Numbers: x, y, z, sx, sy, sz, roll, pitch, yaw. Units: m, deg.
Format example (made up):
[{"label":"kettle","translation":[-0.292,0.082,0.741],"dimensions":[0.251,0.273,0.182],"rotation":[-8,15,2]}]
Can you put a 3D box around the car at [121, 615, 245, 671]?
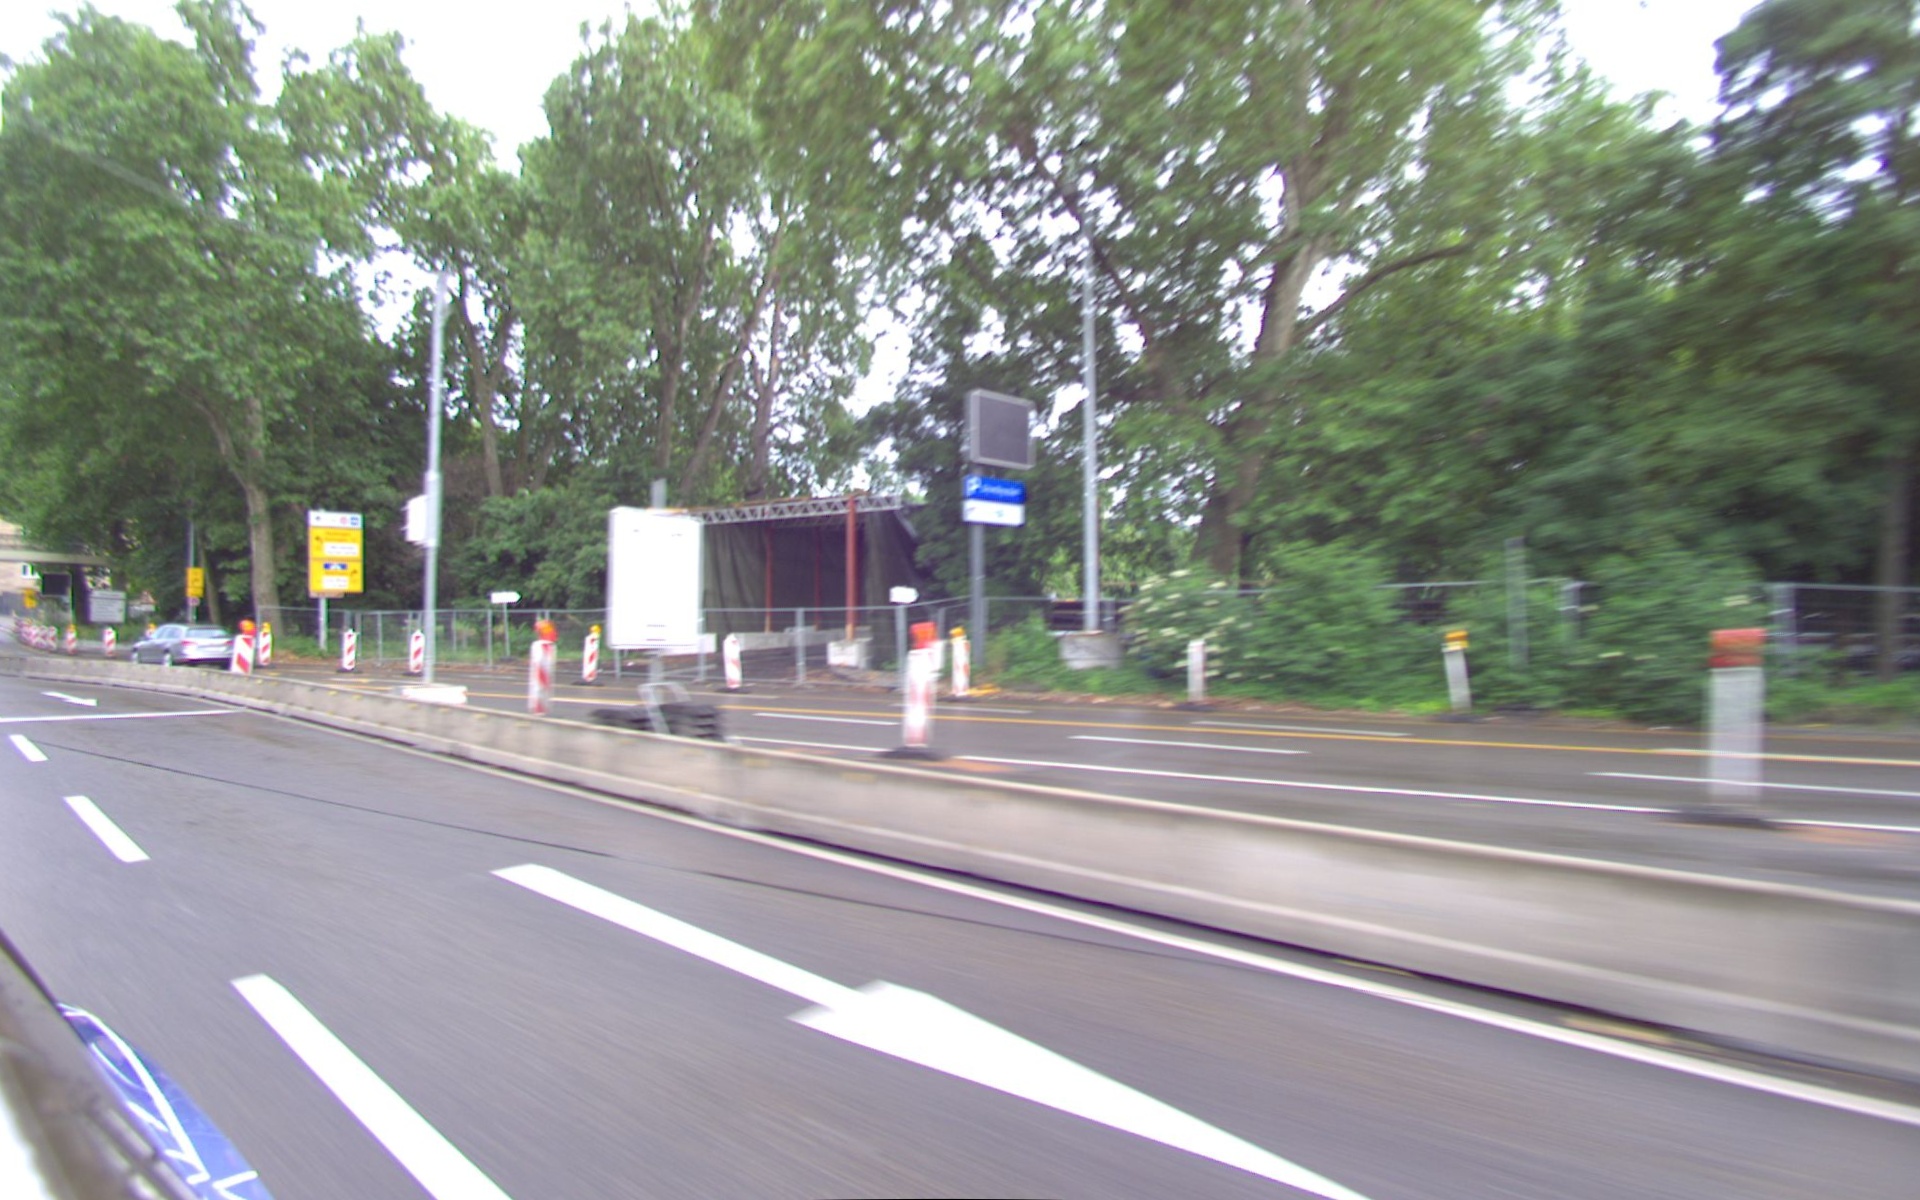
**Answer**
[{"label":"car","translation":[-25.650,1.395,33.376],"dimensions":[4.436,1.552,1.976],"rotation":[2,-1,35]}]
